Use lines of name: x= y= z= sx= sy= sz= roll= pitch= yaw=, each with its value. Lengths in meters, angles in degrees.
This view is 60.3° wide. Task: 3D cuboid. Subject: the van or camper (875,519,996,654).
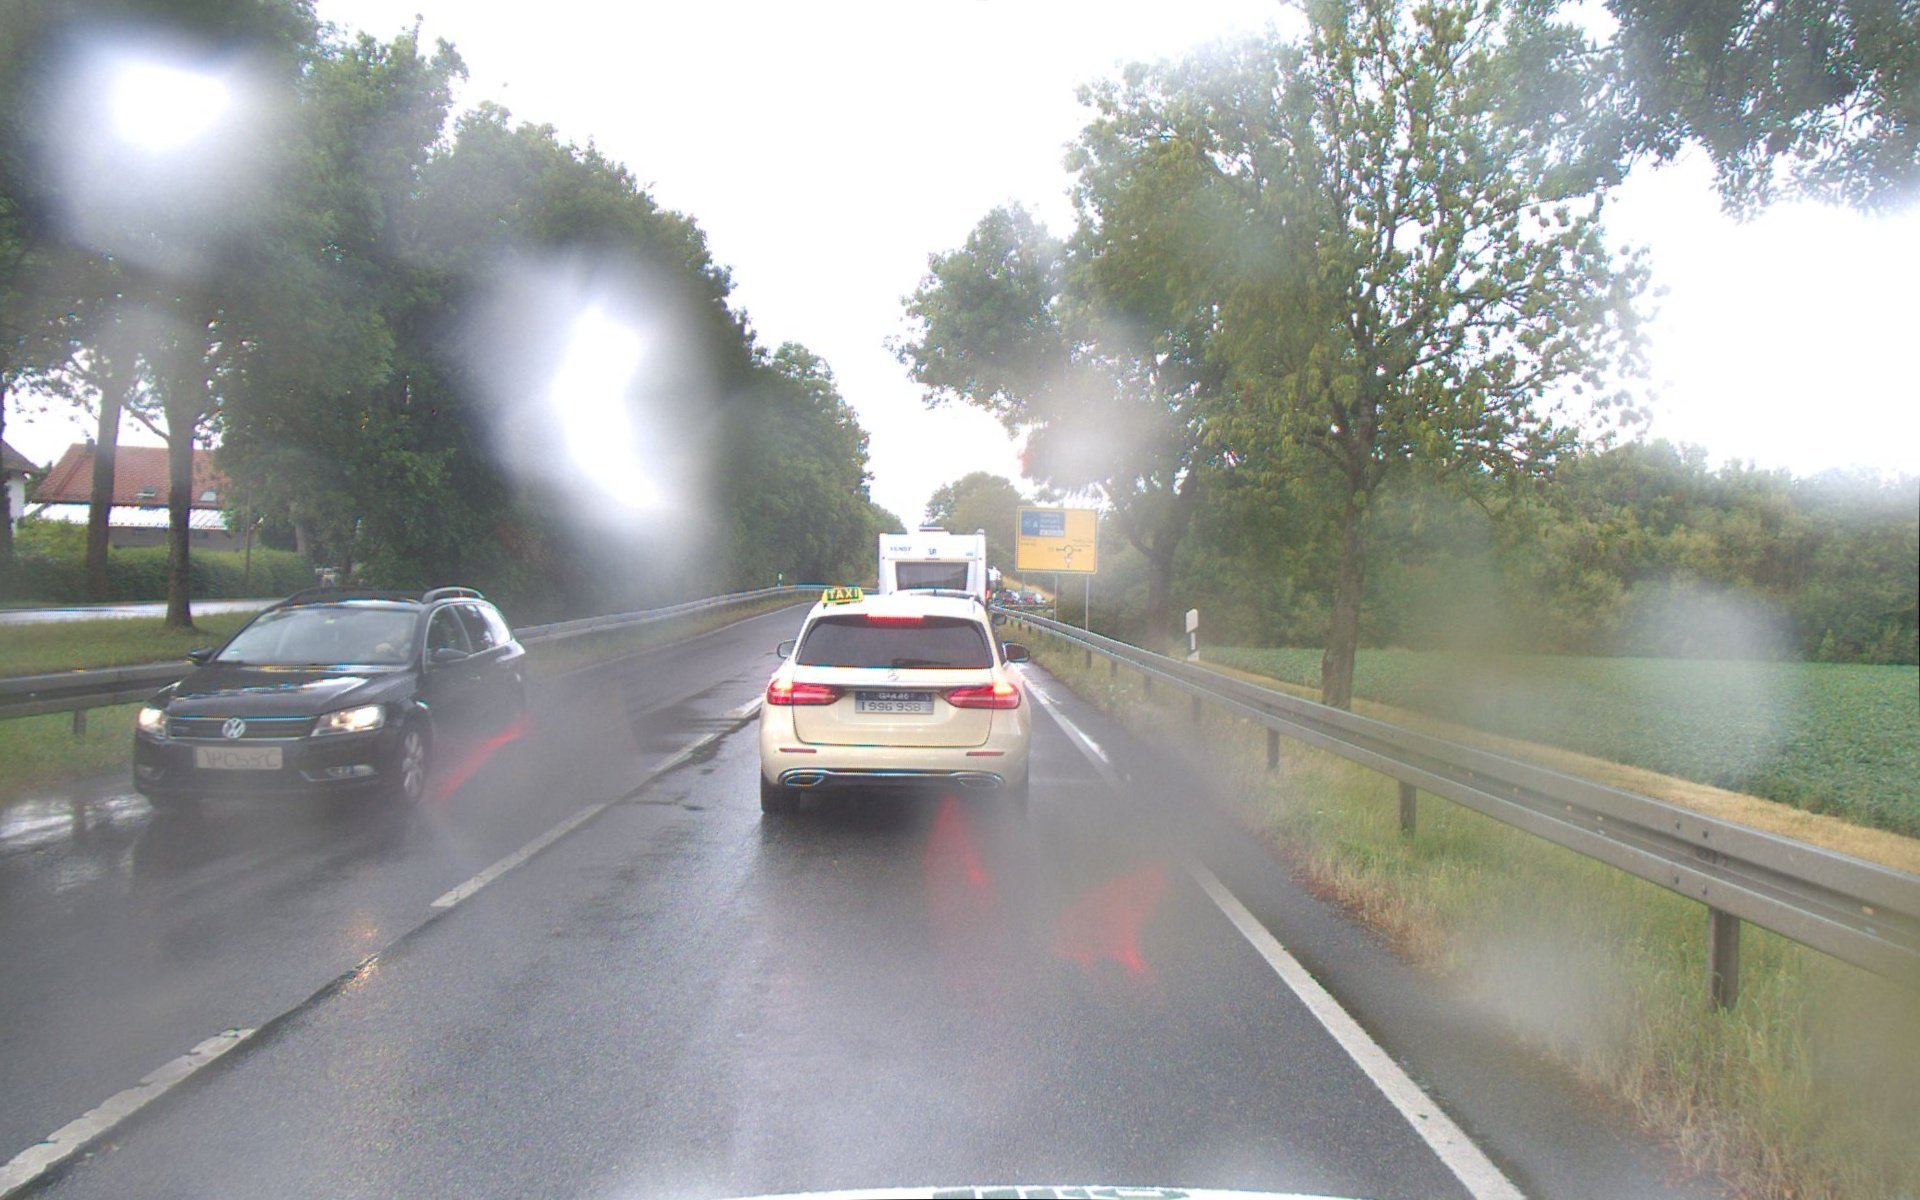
van or camper: x=-0.470 y=-0.291 z=36.727 sx=2.438 sy=2.732 sz=5.700 roll=1 pitch=0 yaw=1

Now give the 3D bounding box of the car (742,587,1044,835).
car: x=-0.385 y=0.662 z=12.018 sx=1.826 sy=1.502 sz=4.000 roll=0 pitch=0 yaw=0

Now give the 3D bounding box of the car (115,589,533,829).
car: x=-4.444 y=0.665 z=12.214 sx=1.595 sy=1.463 sz=3.959 roll=1 pitch=0 yaw=-1

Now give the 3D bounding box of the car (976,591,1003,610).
car: x=1.759 y=0.037 z=99.855 sx=1.520 sy=1.138 sz=3.999 roll=0 pitch=0 yaw=-1

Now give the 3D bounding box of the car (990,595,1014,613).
car: x=2.736 y=0.277 z=108.962 sx=1.520 sy=1.138 sz=4.000 roll=0 pitch=0 yaw=0

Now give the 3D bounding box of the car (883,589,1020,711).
car: x=-0.084 y=0.582 z=21.671 sx=1.630 sy=1.456 sz=4.000 roll=0 pitch=0 yaw=1

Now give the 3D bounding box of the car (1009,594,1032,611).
car: x=4.273 y=0.190 z=117.140 sx=1.519 sy=1.138 sz=4.001 roll=0 pitch=0 yaw=1

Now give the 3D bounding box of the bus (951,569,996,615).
bus: x=0.577 y=-0.385 z=75.997 sx=1.953 sy=2.049 sz=3.999 roll=0 pitch=0 yaw=-1
